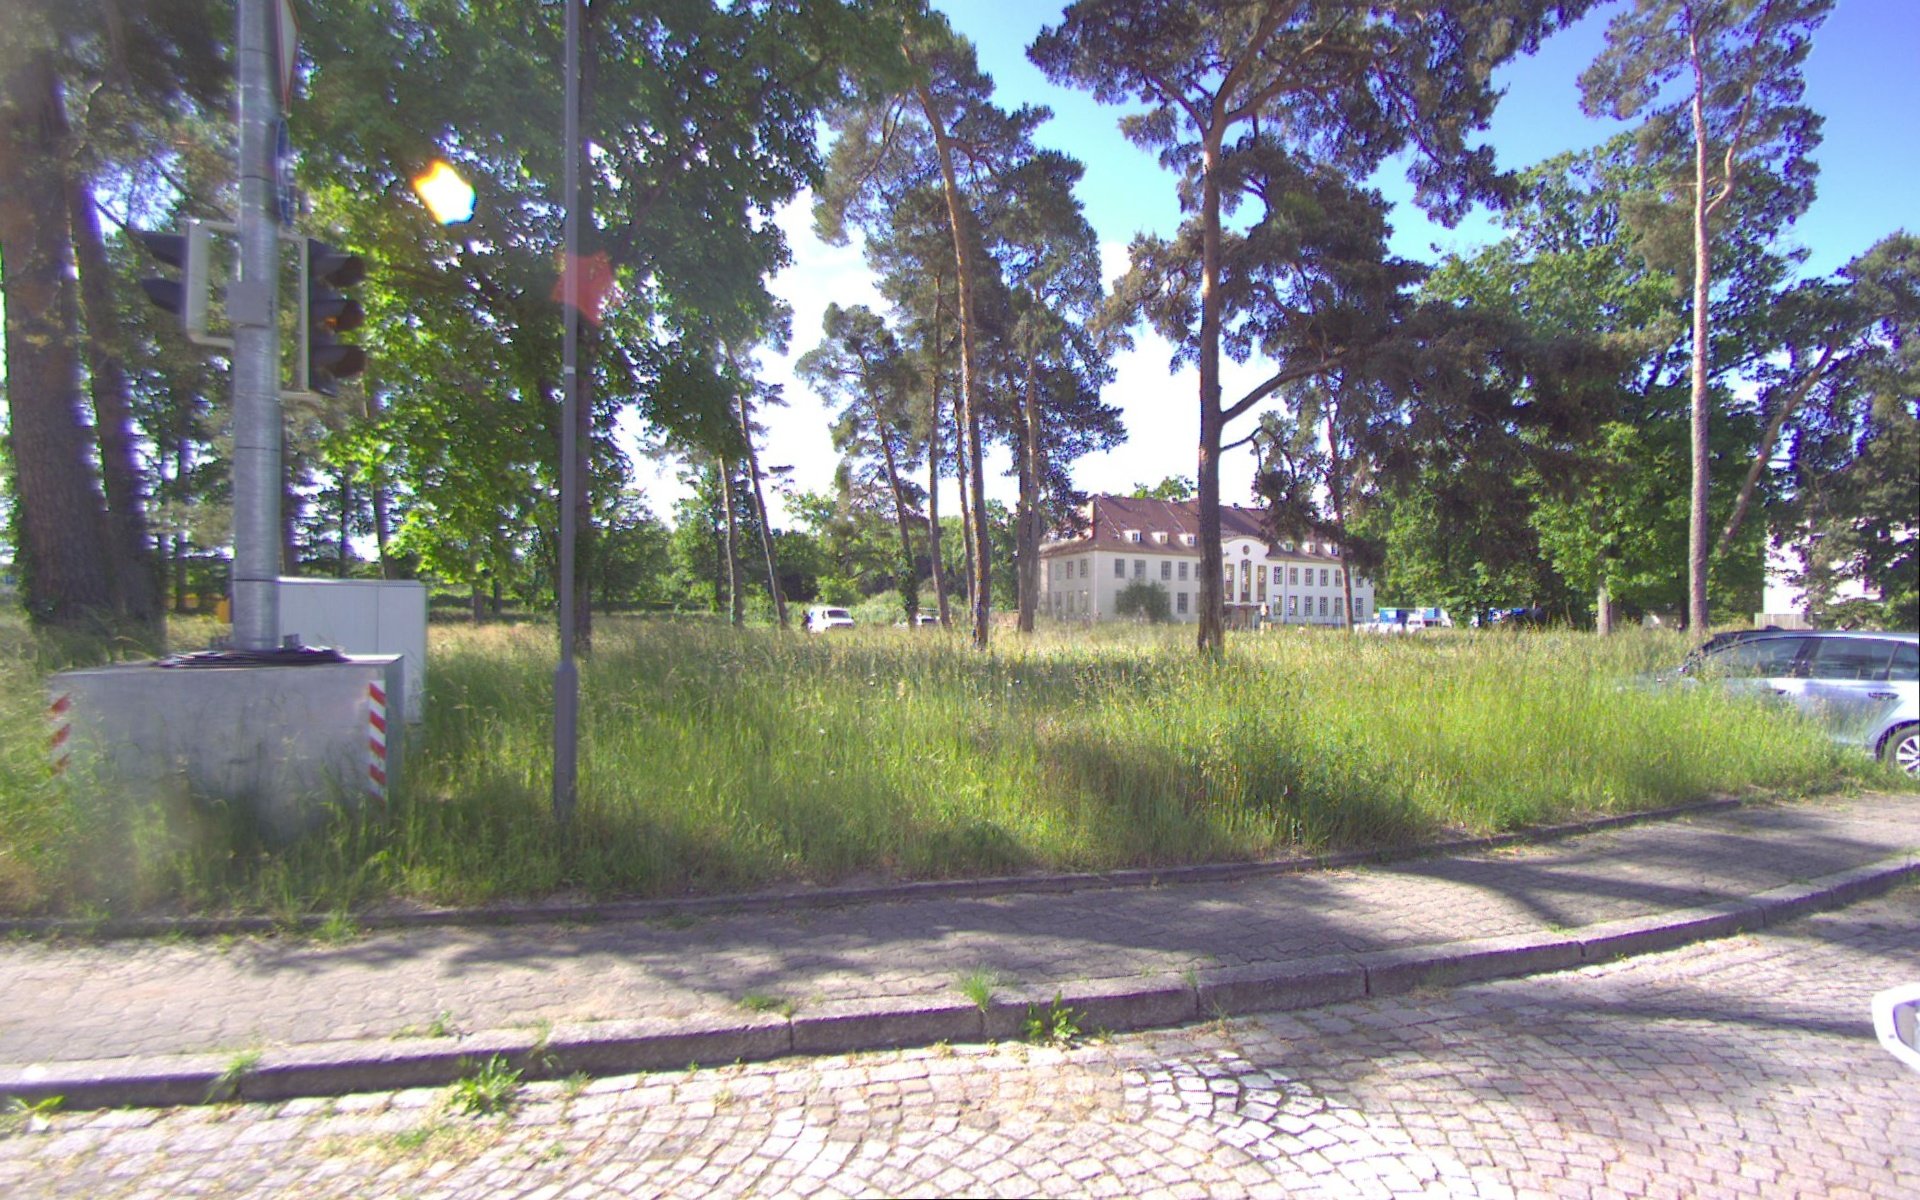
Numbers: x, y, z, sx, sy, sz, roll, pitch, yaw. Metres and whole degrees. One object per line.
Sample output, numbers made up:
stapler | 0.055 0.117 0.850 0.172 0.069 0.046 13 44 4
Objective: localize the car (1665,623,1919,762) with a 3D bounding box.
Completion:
car | 11.480 1.106 12.044 1.962 1.471 4.556 2 0 -31

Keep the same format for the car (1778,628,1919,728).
car | 15.572 1.233 14.997 1.914 1.440 4.845 1 0 -28

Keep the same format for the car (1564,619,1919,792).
car | 9.149 1.028 10.918 1.926 1.503 4.007 0 1 -30

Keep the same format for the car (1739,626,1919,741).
car | 13.757 1.184 13.481 1.914 1.440 4.845 2 0 -28

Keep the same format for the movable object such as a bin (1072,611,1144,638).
movable object such as a bin | 12.375 2.042 83.816 5.566 2.153 2.529 0 -1 17

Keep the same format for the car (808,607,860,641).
car | -8.463 1.610 67.212 1.932 2.192 4.828 1 -1 -27

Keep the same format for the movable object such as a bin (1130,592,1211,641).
movable object such as a bin | 16.907 1.365 80.421 3.869 3.780 6.765 0 -2 37

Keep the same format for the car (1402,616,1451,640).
car | 49.005 2.937 105.427 5.211 2.469 1.976 1 -1 -28

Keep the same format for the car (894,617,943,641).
car | -2.942 2.034 70.565 1.888 1.626 4.213 1 -1 -27
